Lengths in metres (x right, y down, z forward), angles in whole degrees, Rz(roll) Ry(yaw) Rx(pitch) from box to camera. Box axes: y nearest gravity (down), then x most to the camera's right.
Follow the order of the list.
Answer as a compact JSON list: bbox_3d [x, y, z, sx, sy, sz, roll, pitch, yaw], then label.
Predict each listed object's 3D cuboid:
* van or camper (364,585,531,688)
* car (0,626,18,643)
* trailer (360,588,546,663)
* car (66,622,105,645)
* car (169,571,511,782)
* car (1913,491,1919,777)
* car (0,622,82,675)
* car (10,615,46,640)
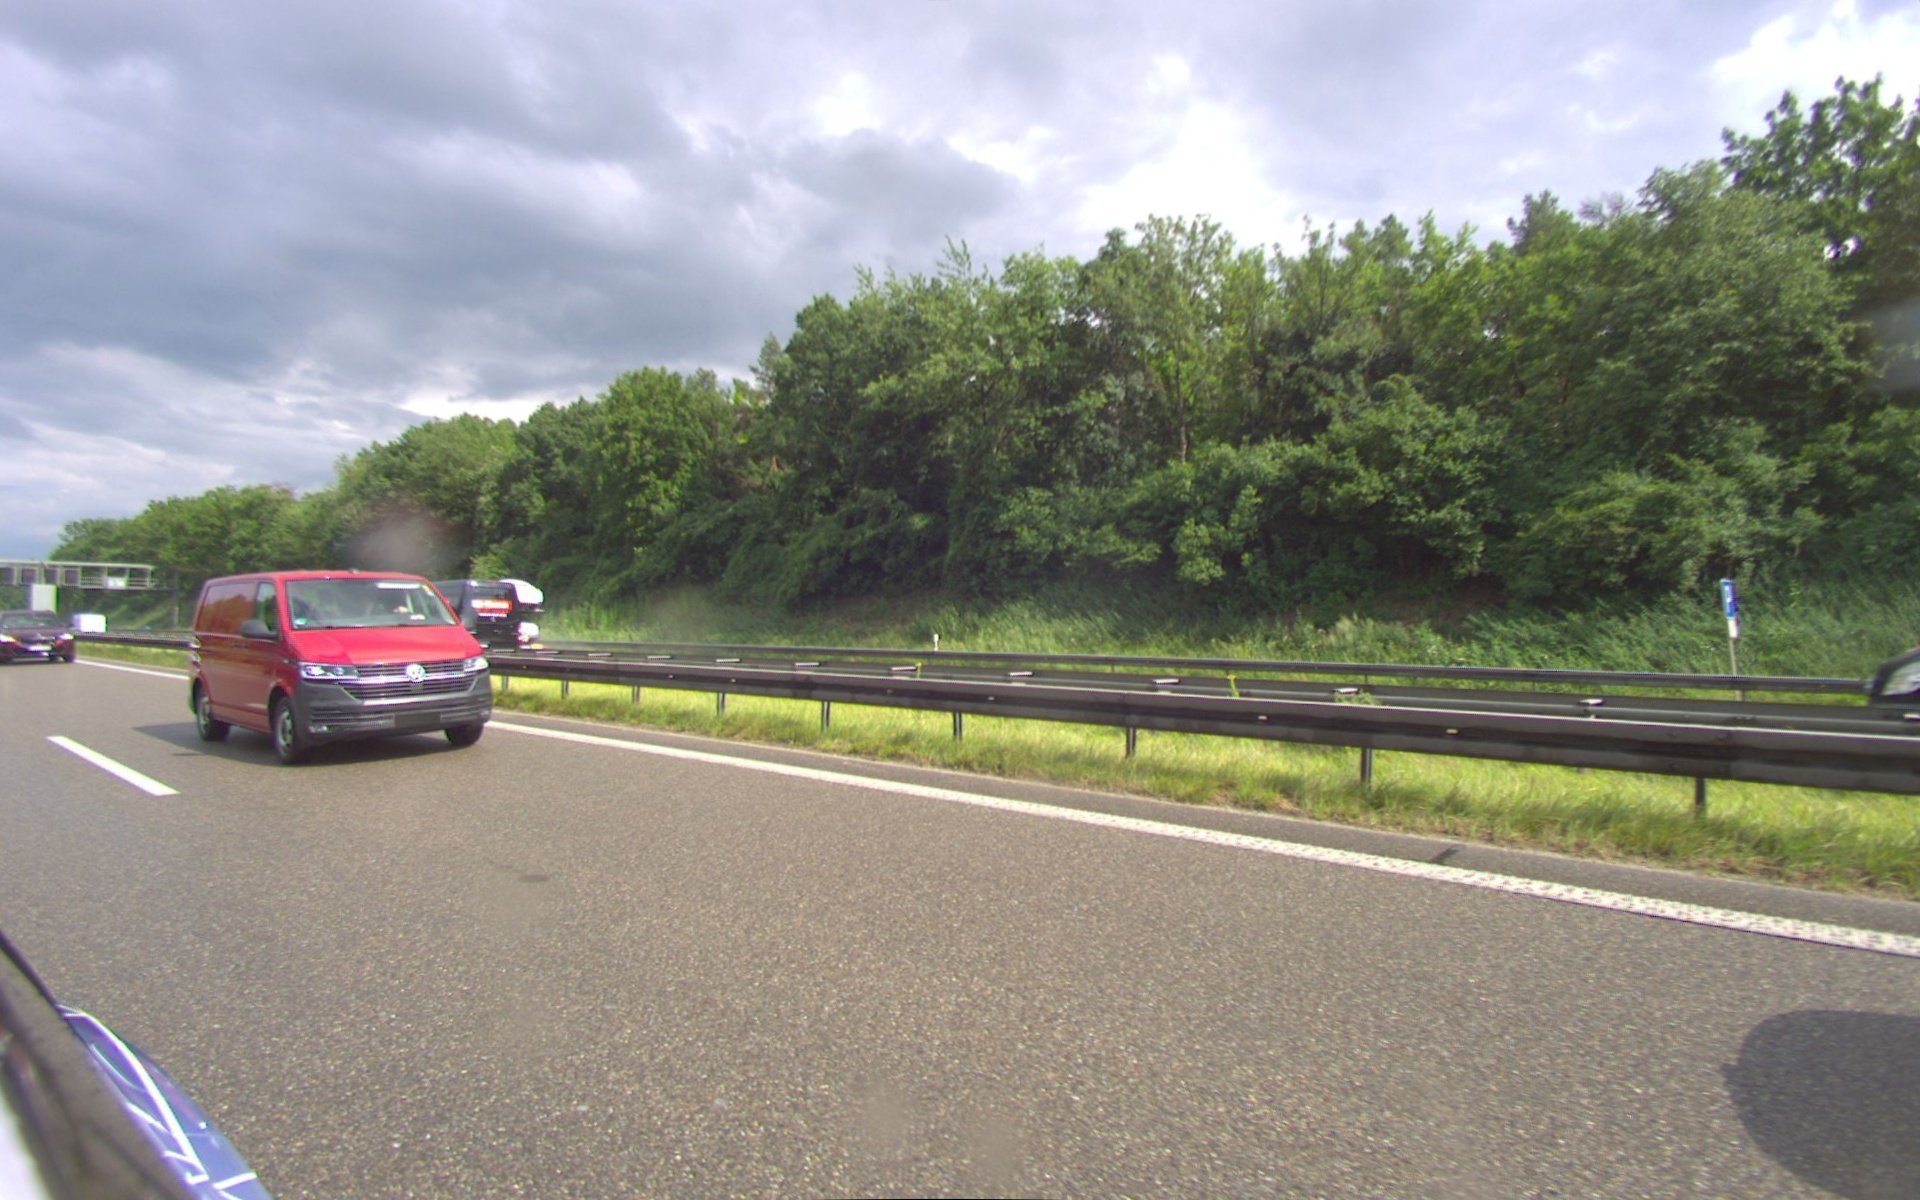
[{"bbox_3d":[-16.151,1.077,31.659,6.836,2.892,2.239,-1,0,41],"label":"van or camper"},{"bbox_3d":[-96.946,3.487,102.449,4.658,1.675,1.827,-1,0,40],"label":"car"},{"bbox_3d":[-30.297,1.451,59.649,17.937,3.860,2.960,-1,0,40],"label":"trailer"},{"bbox_3d":[-77.818,2.968,90.043,5.037,1.961,1.850,-1,0,40],"label":"car"},{"bbox_3d":[-7.085,0.711,11.320,4.836,1.880,1.902,-1,0,41],"label":"car"},{"bbox_3d":[11.796,0.338,7.387,6.886,2.892,2.239,-1,0,41],"label":"car"},{"bbox_3d":[-29.681,1.480,32.194,4.836,1.508,1.983,-1,0,41],"label":"car"},{"bbox_3d":[-109.561,3.193,118.946,6.926,2.892,2.240,-1,0,40],"label":"car"}]
